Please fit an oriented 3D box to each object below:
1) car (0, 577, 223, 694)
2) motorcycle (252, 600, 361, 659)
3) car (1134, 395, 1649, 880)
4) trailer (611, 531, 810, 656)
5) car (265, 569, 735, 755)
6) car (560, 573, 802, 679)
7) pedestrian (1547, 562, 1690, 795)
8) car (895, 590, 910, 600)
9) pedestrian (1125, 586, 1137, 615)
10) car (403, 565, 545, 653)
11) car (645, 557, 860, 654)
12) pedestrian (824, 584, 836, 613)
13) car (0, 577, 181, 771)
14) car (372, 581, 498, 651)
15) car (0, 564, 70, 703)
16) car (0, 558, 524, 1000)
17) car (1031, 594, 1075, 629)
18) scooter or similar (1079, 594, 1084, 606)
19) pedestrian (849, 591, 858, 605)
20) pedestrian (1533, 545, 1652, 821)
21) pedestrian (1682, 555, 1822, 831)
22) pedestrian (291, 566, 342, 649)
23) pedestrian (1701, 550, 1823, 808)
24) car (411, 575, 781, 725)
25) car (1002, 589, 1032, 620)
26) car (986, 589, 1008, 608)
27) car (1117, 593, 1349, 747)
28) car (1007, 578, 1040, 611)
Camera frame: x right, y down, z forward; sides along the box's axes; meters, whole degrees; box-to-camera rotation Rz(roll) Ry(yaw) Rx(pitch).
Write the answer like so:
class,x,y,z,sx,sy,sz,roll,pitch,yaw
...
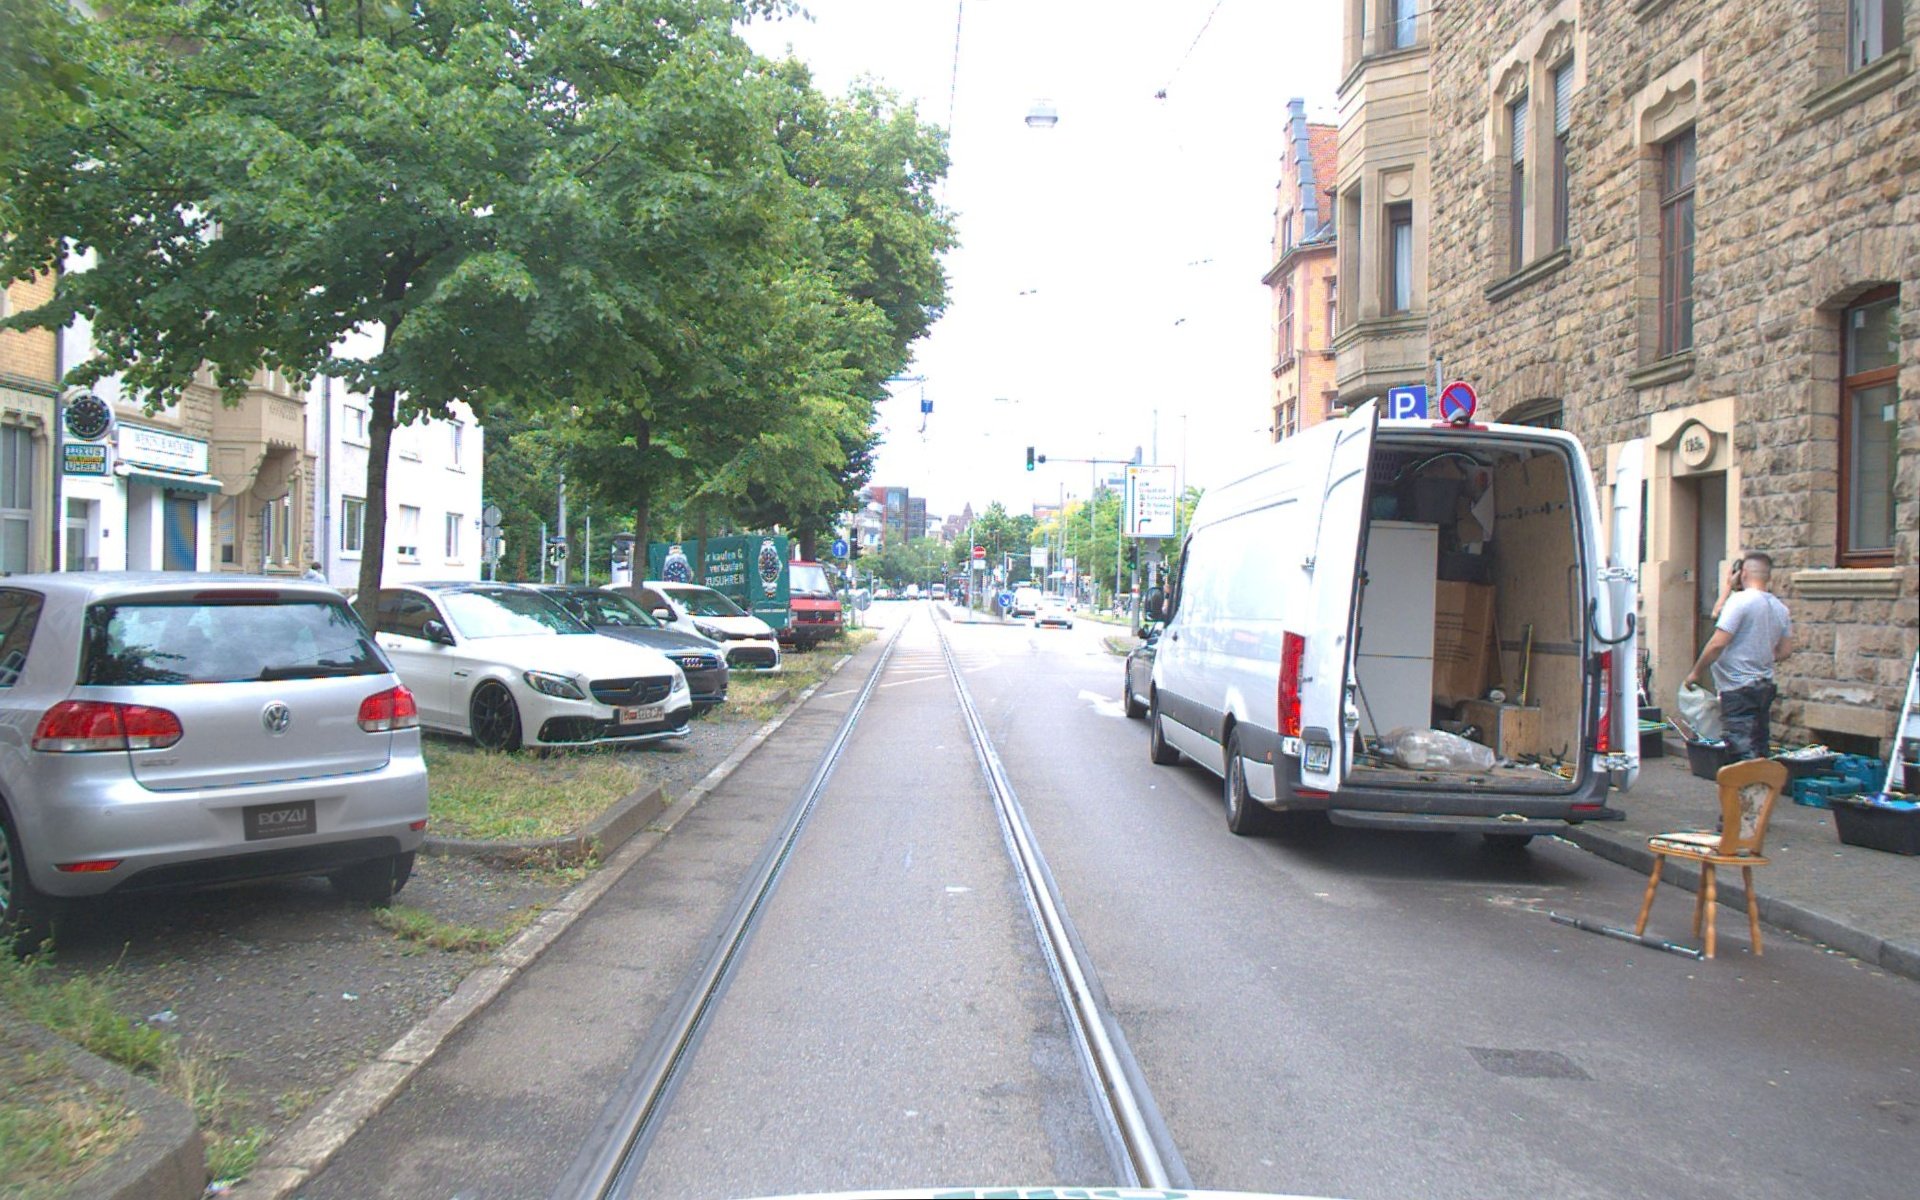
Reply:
class,x,y,z,sx,sy,sz,roll,pitch,yaw
car,-11.870,0.441,23.006,1.602,1.468,3.921,1,0,-3
motorcycle,-12.237,0.530,31.055,0.694,1.057,2.231,1,0,15
car,2.757,0.187,12.659,1.972,2.593,7.016,3,0,0
trailer,-5.055,-0.151,33.511,3.593,2.385,1.926,1,0,32
car,-4.381,0.475,15.405,4.598,1.460,1.890,1,0,38
car,-4.352,0.360,25.546,3.793,1.488,1.680,1,0,41
pedestrian,5.063,0.585,12.738,0.848,1.729,0.535,-1,0,-16
car,-8.785,-0.726,252.181,1.733,1.519,3.889,1,0,5
pedestrian,11.271,0.005,109.076,0.724,1.902,0.682,0,0,-1
car,-9.054,0.157,31.095,1.611,1.530,3.882,1,0,-2
car,-4.609,0.079,36.415,4.675,2.009,1.951,1,0,37
pedestrian,-8.032,-0.099,102.326,0.687,1.745,0.697,1,0,-10
car,-8.376,0.568,13.863,1.611,1.530,4.620,1,0,-2
car,-11.905,0.324,37.773,1.602,1.468,4.568,1,0,-3
car,-11.695,0.361,18.838,1.602,1.577,2.949,1,0,-3
car,-3.982,0.583,7.660,4.041,1.510,1.788,1,0,40
car,4.171,0.481,74.866,1.746,1.498,4.010,1,0,0
scooter or similar,12.319,-0.020,167.548,0.368,1.161,1.200,0,0,9
pedestrian,-10.217,-0.204,158.752,0.847,1.289,0.693,1,0,-4
pedestrian,4.388,0.554,11.515,0.488,1.847,0.803,-1,0,0
pedestrian,5.169,0.579,10.792,0.695,1.729,0.488,-1,0,-29
pedestrian,-14.188,0.164,36.481,0.781,1.797,0.900,1,0,-2
pedestrian,5.623,0.537,11.618,0.499,1.747,0.579,-1,0,-11
car,-4.144,0.475,18.496,4.262,1.460,1.888,1,0,41
car,3.824,0.289,111.737,1.746,1.997,4.381,1,0,-1
car,3.327,-0.131,149.946,1.746,1.709,4.381,1,0,-1
car,2.973,0.691,19.067,1.787,1.475,5.006,2,0,0
car,3.979,-0.337,103.726,1.746,1.997,4.381,1,0,-2
